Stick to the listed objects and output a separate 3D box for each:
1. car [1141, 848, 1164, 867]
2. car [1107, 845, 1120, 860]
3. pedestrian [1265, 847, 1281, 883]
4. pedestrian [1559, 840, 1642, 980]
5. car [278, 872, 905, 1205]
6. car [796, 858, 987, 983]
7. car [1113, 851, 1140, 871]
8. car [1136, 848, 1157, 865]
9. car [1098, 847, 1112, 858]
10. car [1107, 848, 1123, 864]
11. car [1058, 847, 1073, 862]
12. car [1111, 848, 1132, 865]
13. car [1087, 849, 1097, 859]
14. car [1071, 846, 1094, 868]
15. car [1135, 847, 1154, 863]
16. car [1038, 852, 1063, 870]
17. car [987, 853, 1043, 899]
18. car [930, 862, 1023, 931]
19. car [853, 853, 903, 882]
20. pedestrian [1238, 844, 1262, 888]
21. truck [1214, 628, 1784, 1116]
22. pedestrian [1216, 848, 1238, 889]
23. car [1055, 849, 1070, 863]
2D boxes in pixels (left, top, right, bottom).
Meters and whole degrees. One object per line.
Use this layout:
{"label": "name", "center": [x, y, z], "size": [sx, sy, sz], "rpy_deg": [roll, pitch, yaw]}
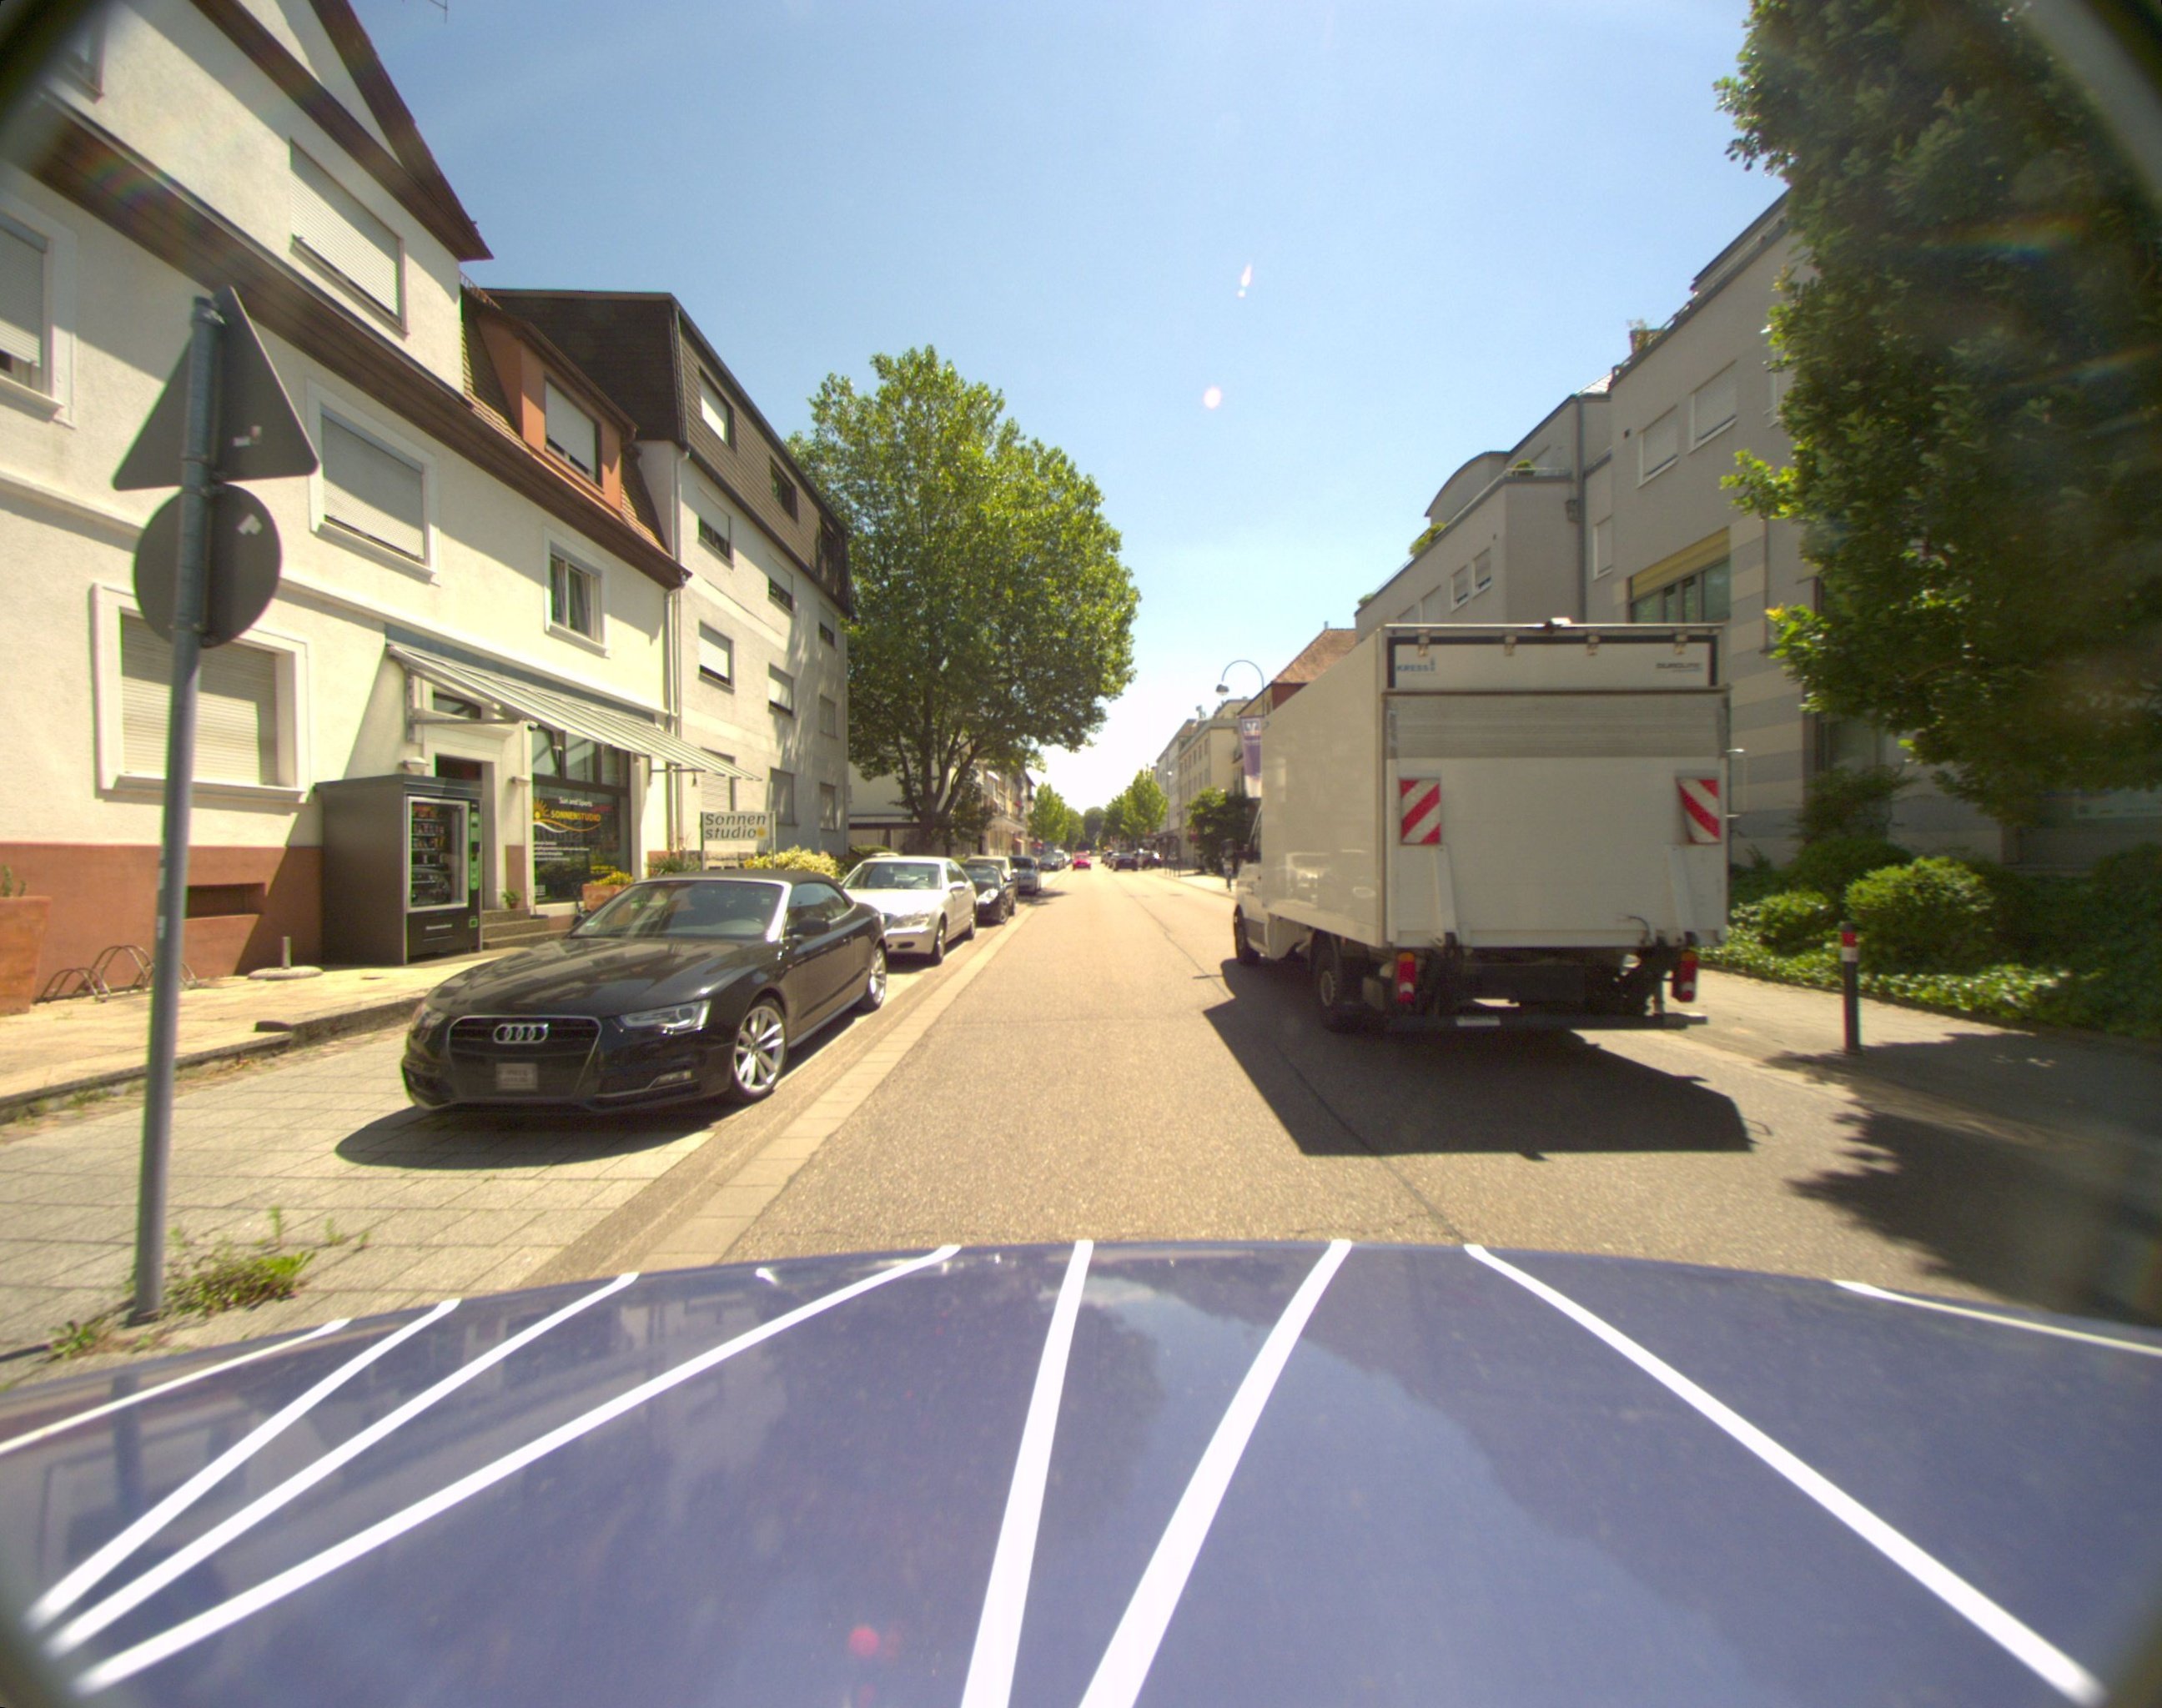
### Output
{"label": "car", "center": [6.745, 0.279, 71.680], "size": [1.731, 1.661, 4.293], "rpy_deg": [-2, 0, 0]}
{"label": "car", "center": [4.941, -0.209, 116.121], "size": [1.731, 2.154, 4.293], "rpy_deg": [1, 0, 0]}
{"label": "pedestrian", "center": [8.889, 0.497, 35.190], "size": [0.541, 1.665, 0.735], "rpy_deg": [1, 1, 0]}
{"label": "pedestrian", "center": [6.481, 0.676, 9.508], "size": [0.538, 1.675, 0.708], "rpy_deg": [-1, 1, 0]}
{"label": "car", "center": [-2.863, 0.932, 5.948], "size": [1.831, 1.418, 4.700], "rpy_deg": [1, 0, 1]}
{"label": "car", "center": [-2.694, 0.855, 12.023], "size": [1.748, 1.460, 4.851], "rpy_deg": [1, 0, 1]}
{"label": "car", "center": [3.595, 0.544, 60.601], "size": [1.834, 1.502, 4.262], "rpy_deg": [1, 0, 0]}
{"label": "car", "center": [6.699, 0.253, 78.049], "size": [1.732, 1.661, 4.293], "rpy_deg": [-2, 0, -1]}
{"label": "car", "center": [3.289, -0.220, 103.360], "size": [1.731, 1.500, 4.293], "rpy_deg": [0, 1, 0]}
{"label": "car", "center": [3.862, 0.179, 87.155], "size": [1.706, 1.815, 4.231], "rpy_deg": [1, 0, 0]}
{"label": "car", "center": [-2.014, 0.034, 99.617], "size": [1.731, 1.861, 4.114], "rpy_deg": [0, 0, 0]}
{"label": "car", "center": [3.870, 0.230, 73.868], "size": [1.834, 1.502, 4.030], "rpy_deg": [0, 1, 0]}
{"label": "car", "center": [1.886, -0.002, 130.958], "size": [1.698, 1.594, 3.812], "rpy_deg": [-1, 0, 0]}
{"label": "car", "center": [0.124, 0.295, 69.961], "size": [2.000, 1.880, 4.293], "rpy_deg": [-2, 0, 0]}
{"label": "car", "center": [6.914, 0.127, 83.445], "size": [1.731, 1.661, 4.293], "rpy_deg": [-2, 0, 0]}
{"label": "car", "center": [-2.570, 0.570, 64.787], "size": [1.818, 1.379, 4.114], "rpy_deg": [2, 0, 0]}
{"label": "car", "center": [-2.488, 0.784, 29.606], "size": [1.834, 1.502, 4.758], "rpy_deg": [-3, 1, -2]}
{"label": "car", "center": [-2.280, 0.890, 17.533], "size": [1.562, 1.333, 4.173], "rpy_deg": [0, 0, 0]}
{"label": "car", "center": [-11.161, 0.684, 41.643], "size": [1.740, 1.491, 3.454], "rpy_deg": [-1, 1, -30]}
{"label": "pedestrian", "center": [6.946, 0.490, 31.278], "size": [0.750, 1.760, 0.951], "rpy_deg": [-1, 1, 0]}
{"label": "truck", "center": [3.095, 0.108, 7.763], "size": [2.426, 2.966, 6.257], "rpy_deg": [0, 0, 1]}
{"label": "pedestrian", "center": [6.043, 0.586, 31.491], "size": [0.622, 1.667, 0.903], "rpy_deg": [-3, 1, 0]}
{"label": "car", "center": [-2.238, 0.179, 94.314], "size": [1.731, 1.680, 4.114], "rpy_deg": [0, 0, 0]}
